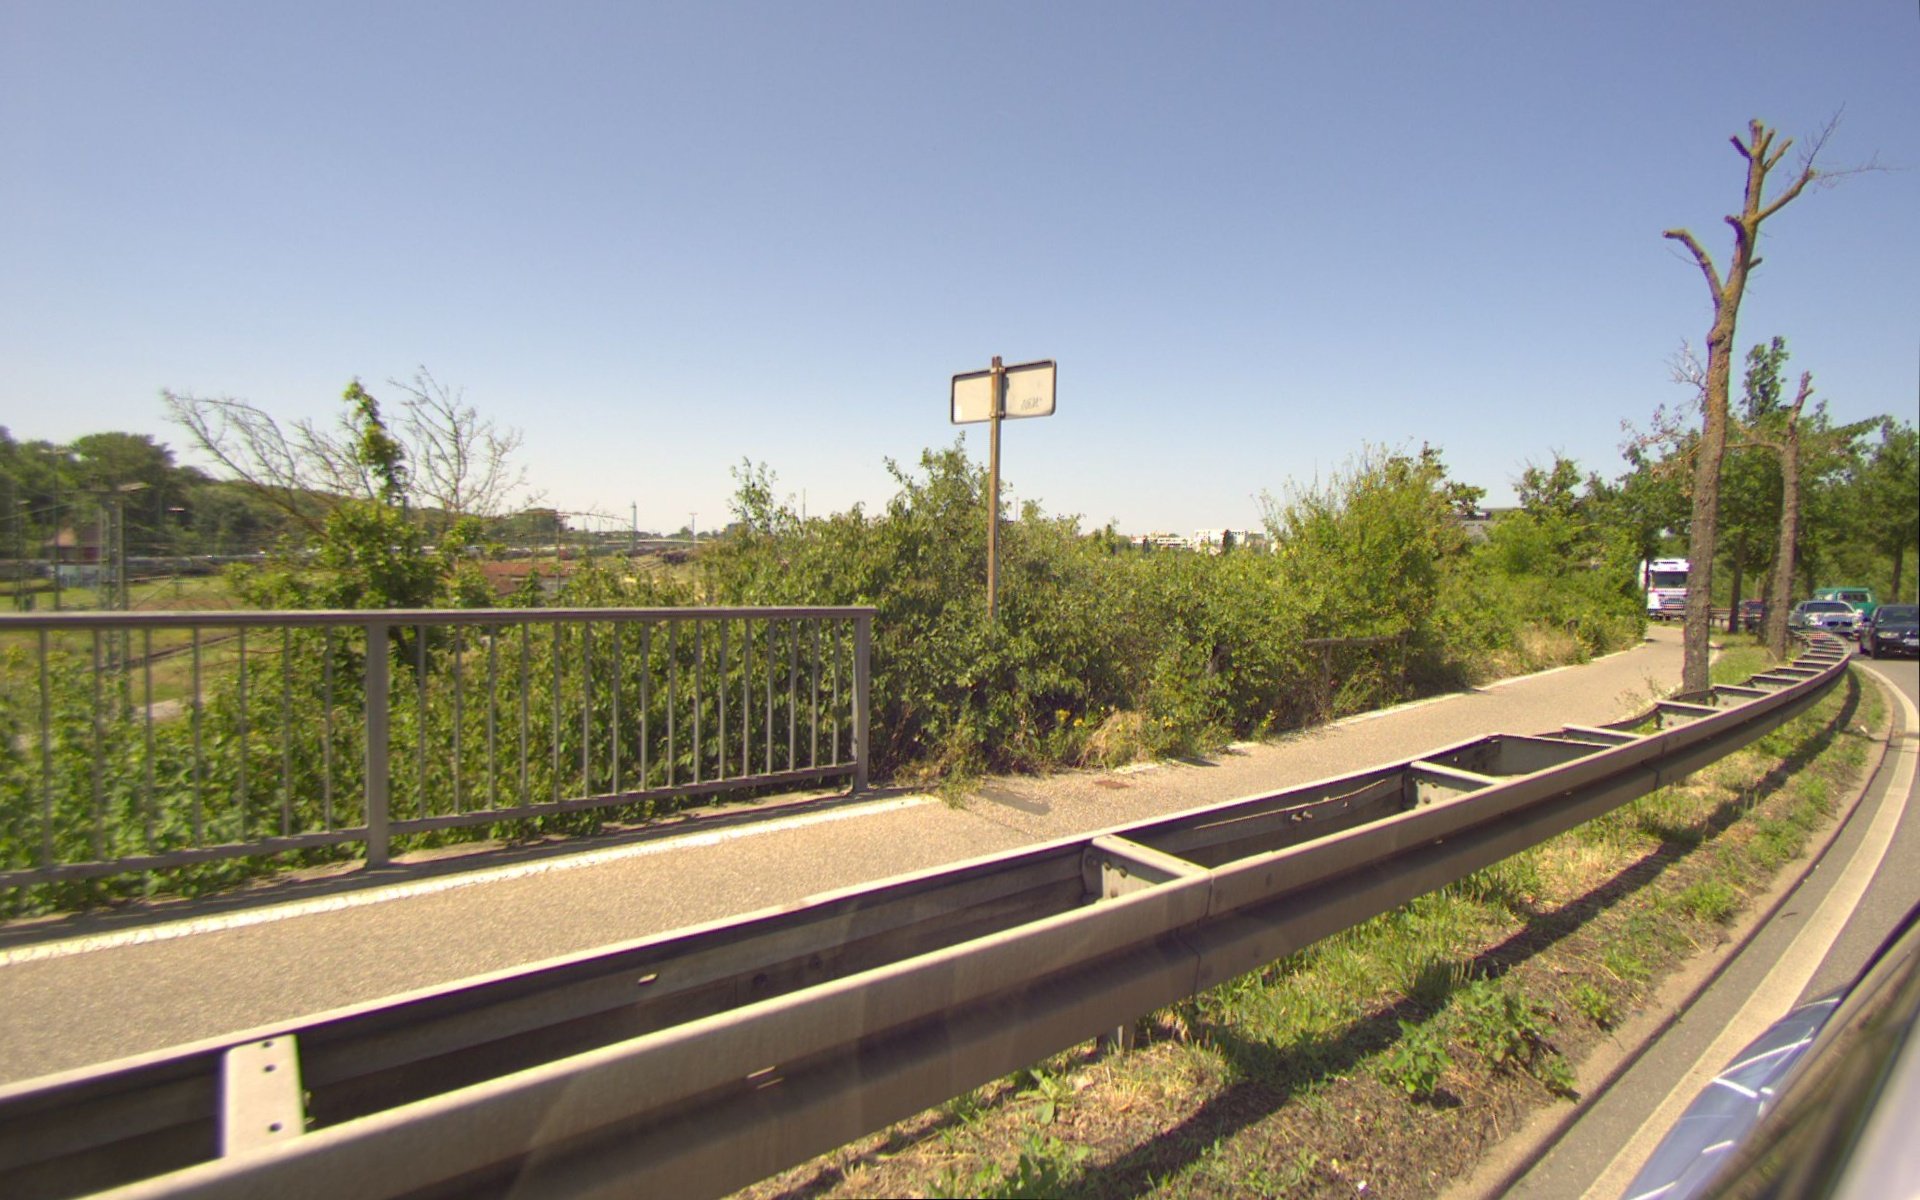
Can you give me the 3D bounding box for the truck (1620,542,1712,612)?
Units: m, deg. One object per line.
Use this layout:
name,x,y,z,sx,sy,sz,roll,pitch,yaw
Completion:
truck,46.523,-1.492,66.973,2.824,4.322,8.756,1,1,21

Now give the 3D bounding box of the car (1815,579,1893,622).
car,43.544,0.001,49.388,1.820,1.963,4.727,1,1,29

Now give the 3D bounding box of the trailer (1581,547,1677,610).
trailer,49.833,-1.570,75.917,2.847,4.267,13.913,1,1,20

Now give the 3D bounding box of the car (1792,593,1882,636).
car,31.628,0.498,36.587,1.803,1.446,3.675,1,1,31

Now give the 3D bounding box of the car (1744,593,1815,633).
car,39.275,0.578,48.615,1.885,1.675,4.216,1,2,29

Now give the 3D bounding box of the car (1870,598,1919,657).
car,24.932,0.673,26.262,1.561,1.434,4.067,1,1,37
